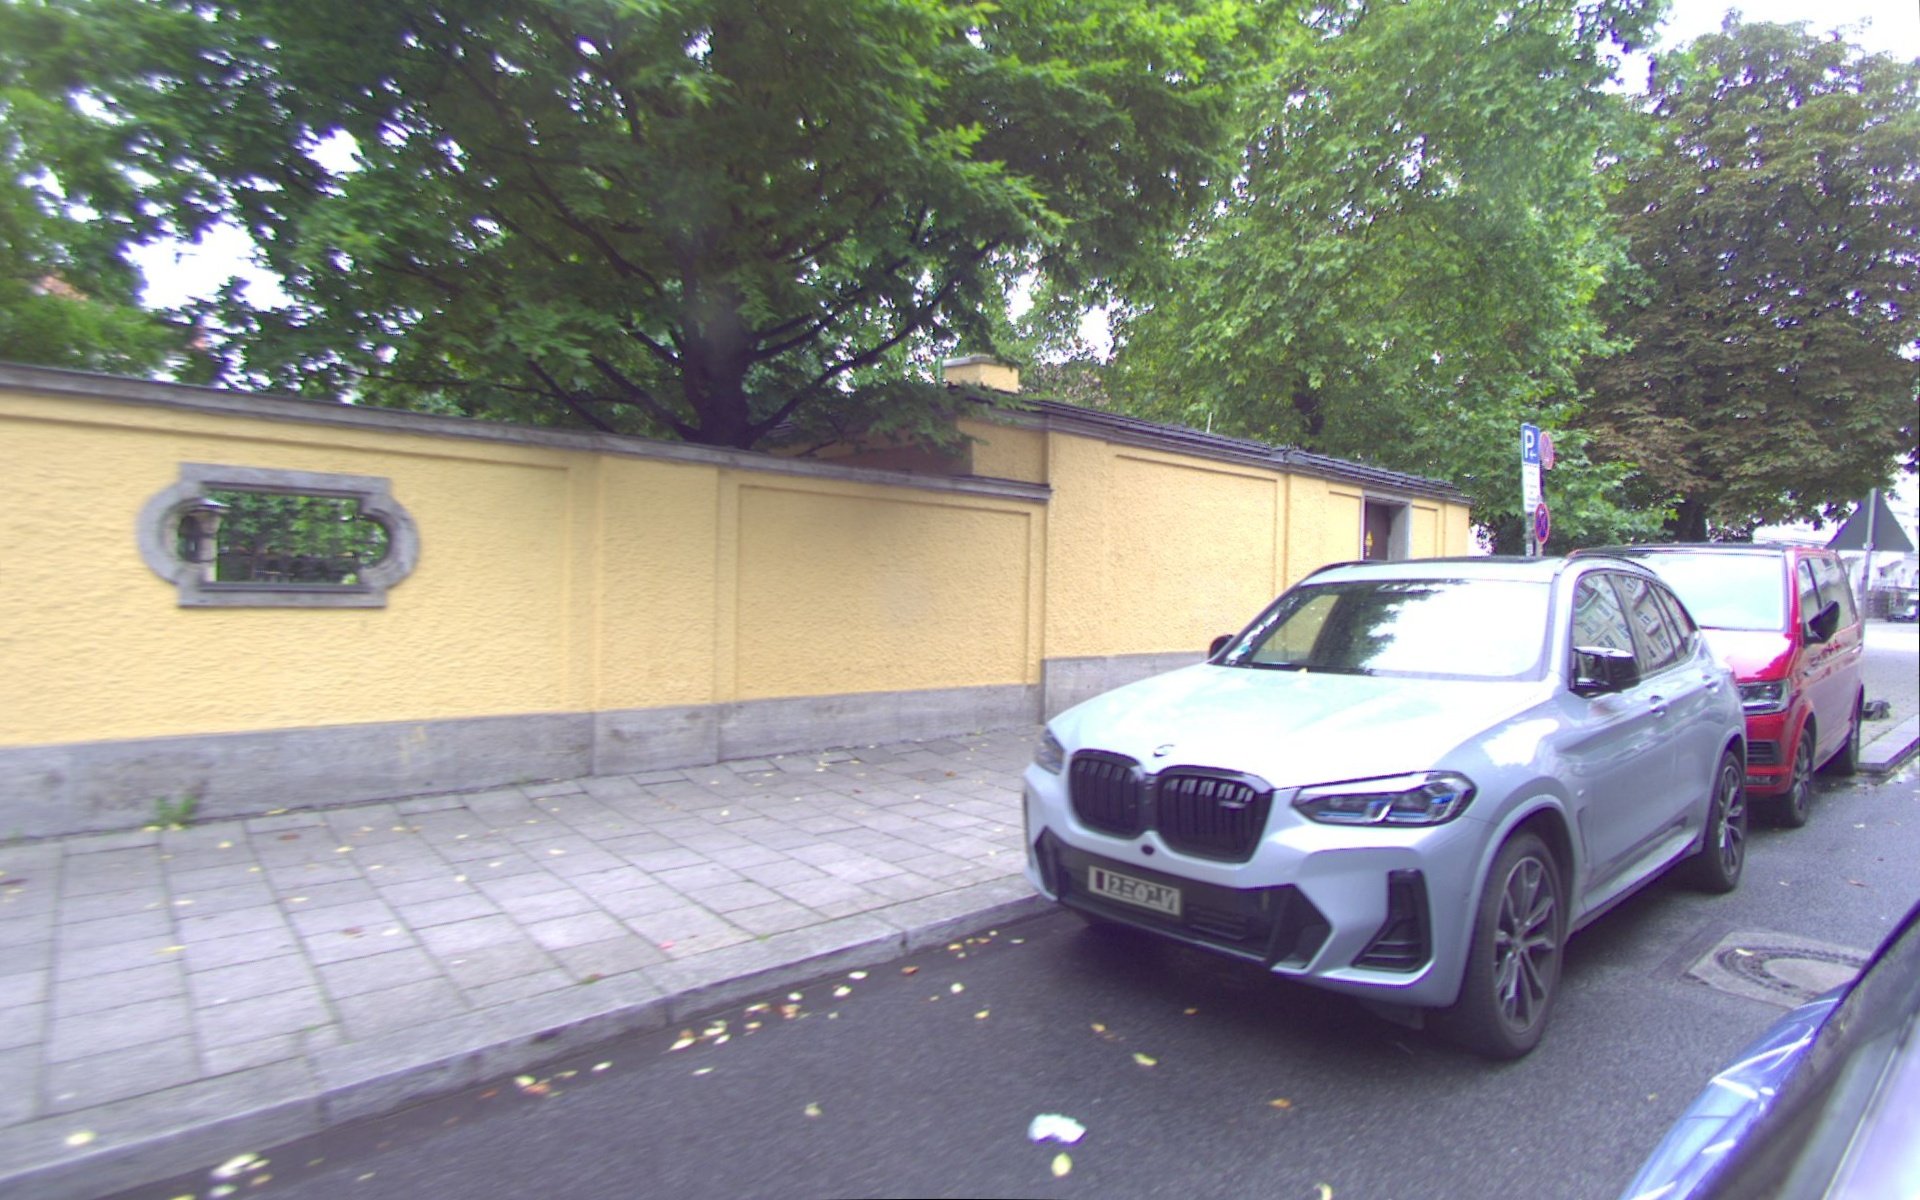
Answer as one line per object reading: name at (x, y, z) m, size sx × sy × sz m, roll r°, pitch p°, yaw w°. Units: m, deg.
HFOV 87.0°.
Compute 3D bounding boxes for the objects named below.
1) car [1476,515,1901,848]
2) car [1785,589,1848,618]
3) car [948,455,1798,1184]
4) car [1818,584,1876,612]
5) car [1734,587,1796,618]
car at (6.384, 0.415, 8.546) m, size 5.353 × 1.992 × 1.861 m, roll -1°, pitch 2°, yaw -43°
car at (60.707, 0.217, 71.701) m, size 4.680 × 1.936 × 2.160 m, roll -1°, pitch 2°, yaw -33°
car at (2.244, 0.518, 4.670) m, size 4.523 × 1.763 × 1.861 m, roll 0°, pitch 0°, yaw -42°
car at (65.855, -0.162, 75.108) m, size 4.487 × 1.963 × 2.056 m, roll -1°, pitch 2°, yaw -33°
car at (52.214, 0.129, 65.645) m, size 4.219 × 1.841 × 1.798 m, roll -1°, pitch 2°, yaw -32°
